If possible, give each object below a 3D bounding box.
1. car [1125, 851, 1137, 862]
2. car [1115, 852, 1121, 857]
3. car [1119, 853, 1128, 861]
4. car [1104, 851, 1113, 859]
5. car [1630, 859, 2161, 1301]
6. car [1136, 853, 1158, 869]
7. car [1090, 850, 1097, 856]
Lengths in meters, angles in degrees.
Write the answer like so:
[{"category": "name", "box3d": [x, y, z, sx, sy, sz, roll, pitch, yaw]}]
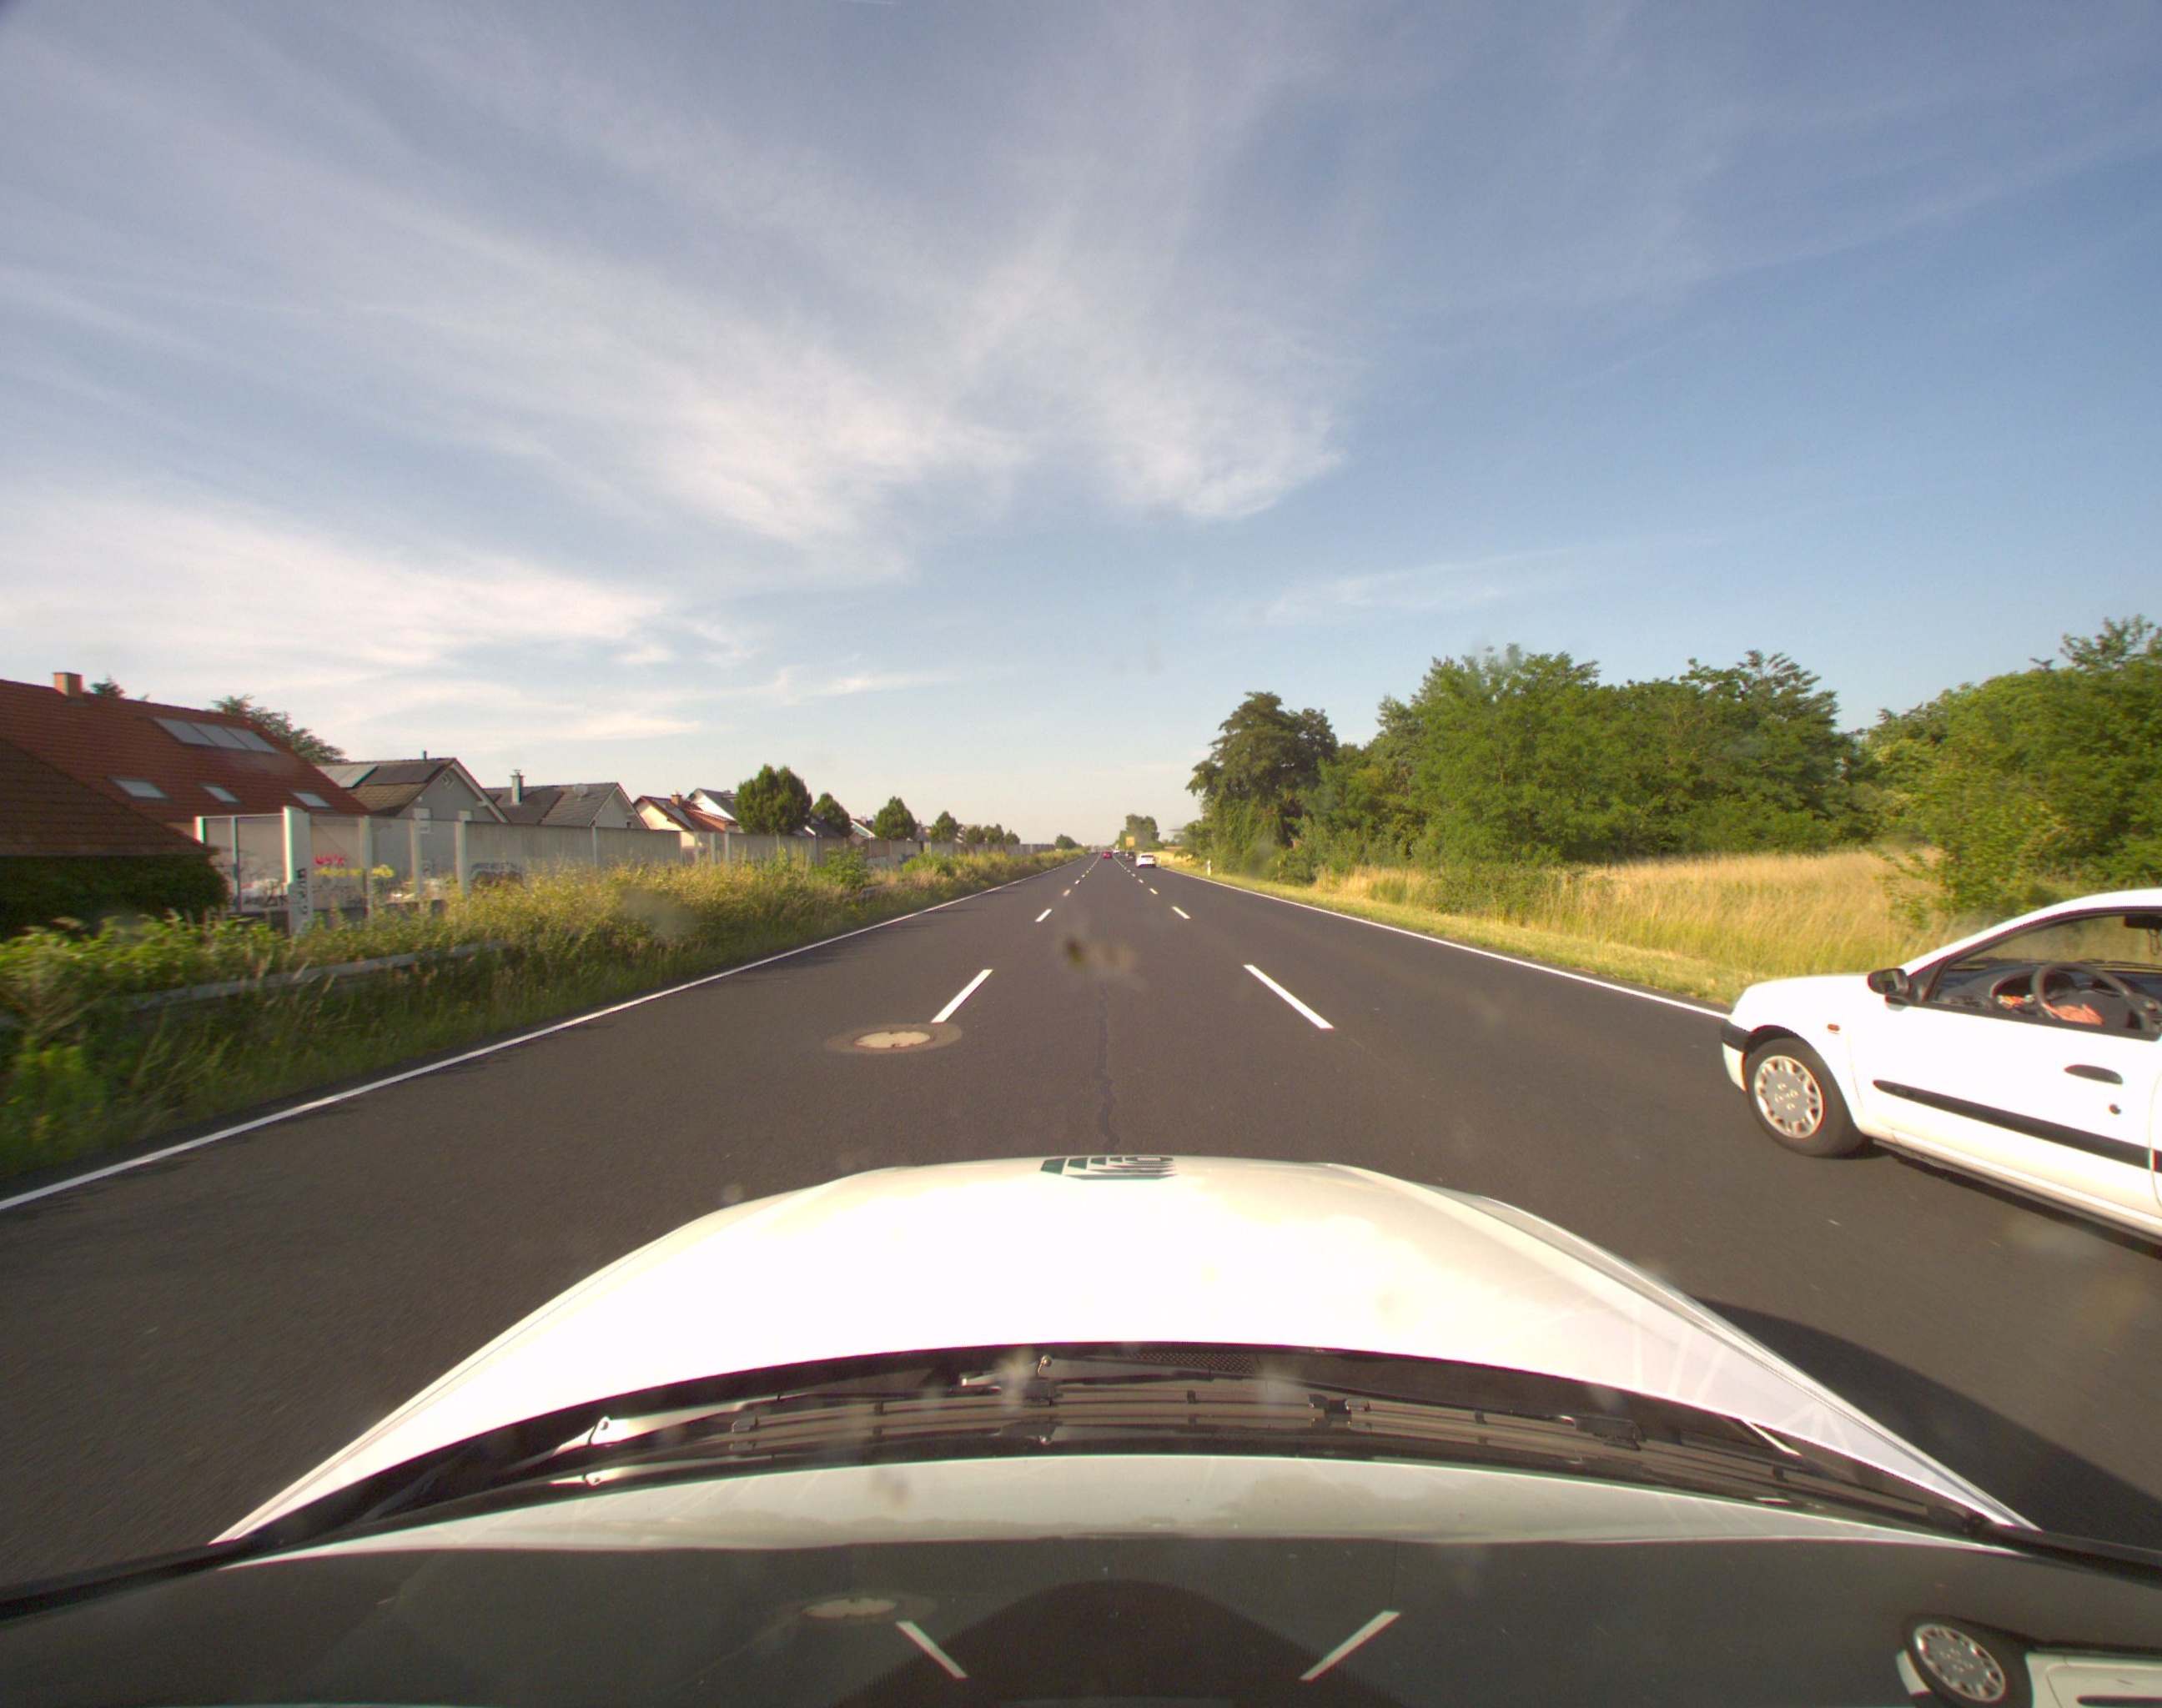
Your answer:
[{"category": "car", "box3d": [7.884, 0.386, 128.447, 1.821, 1.728, 4.001, 0, -1, 1]}, {"category": "car", "box3d": [11.408, 0.167, 250.852, 1.840, 1.750, 4.002, 0, -1, 2]}, {"category": "car", "box3d": [9.169, 0.614, 176.377, 1.827, 1.717, 3.864, 0, -1, 2]}, {"category": "car", "box3d": [5.397, 0.233, 160.085, 1.806, 1.436, 3.858, 0, -1, 1]}, {"category": "car", "box3d": [4.230, 0.719, 3.143, 1.611, 1.387, 3.952, -1, -1, 1]}, {"category": "car", "box3d": [6.609, 0.716, 82.240, 1.986, 1.516, 4.001, 0, -1, 1]}, {"category": "car", "box3d": [3.738, -0.329, 248.344, 1.986, 1.717, 4.001, 0, -1, 1]}]
